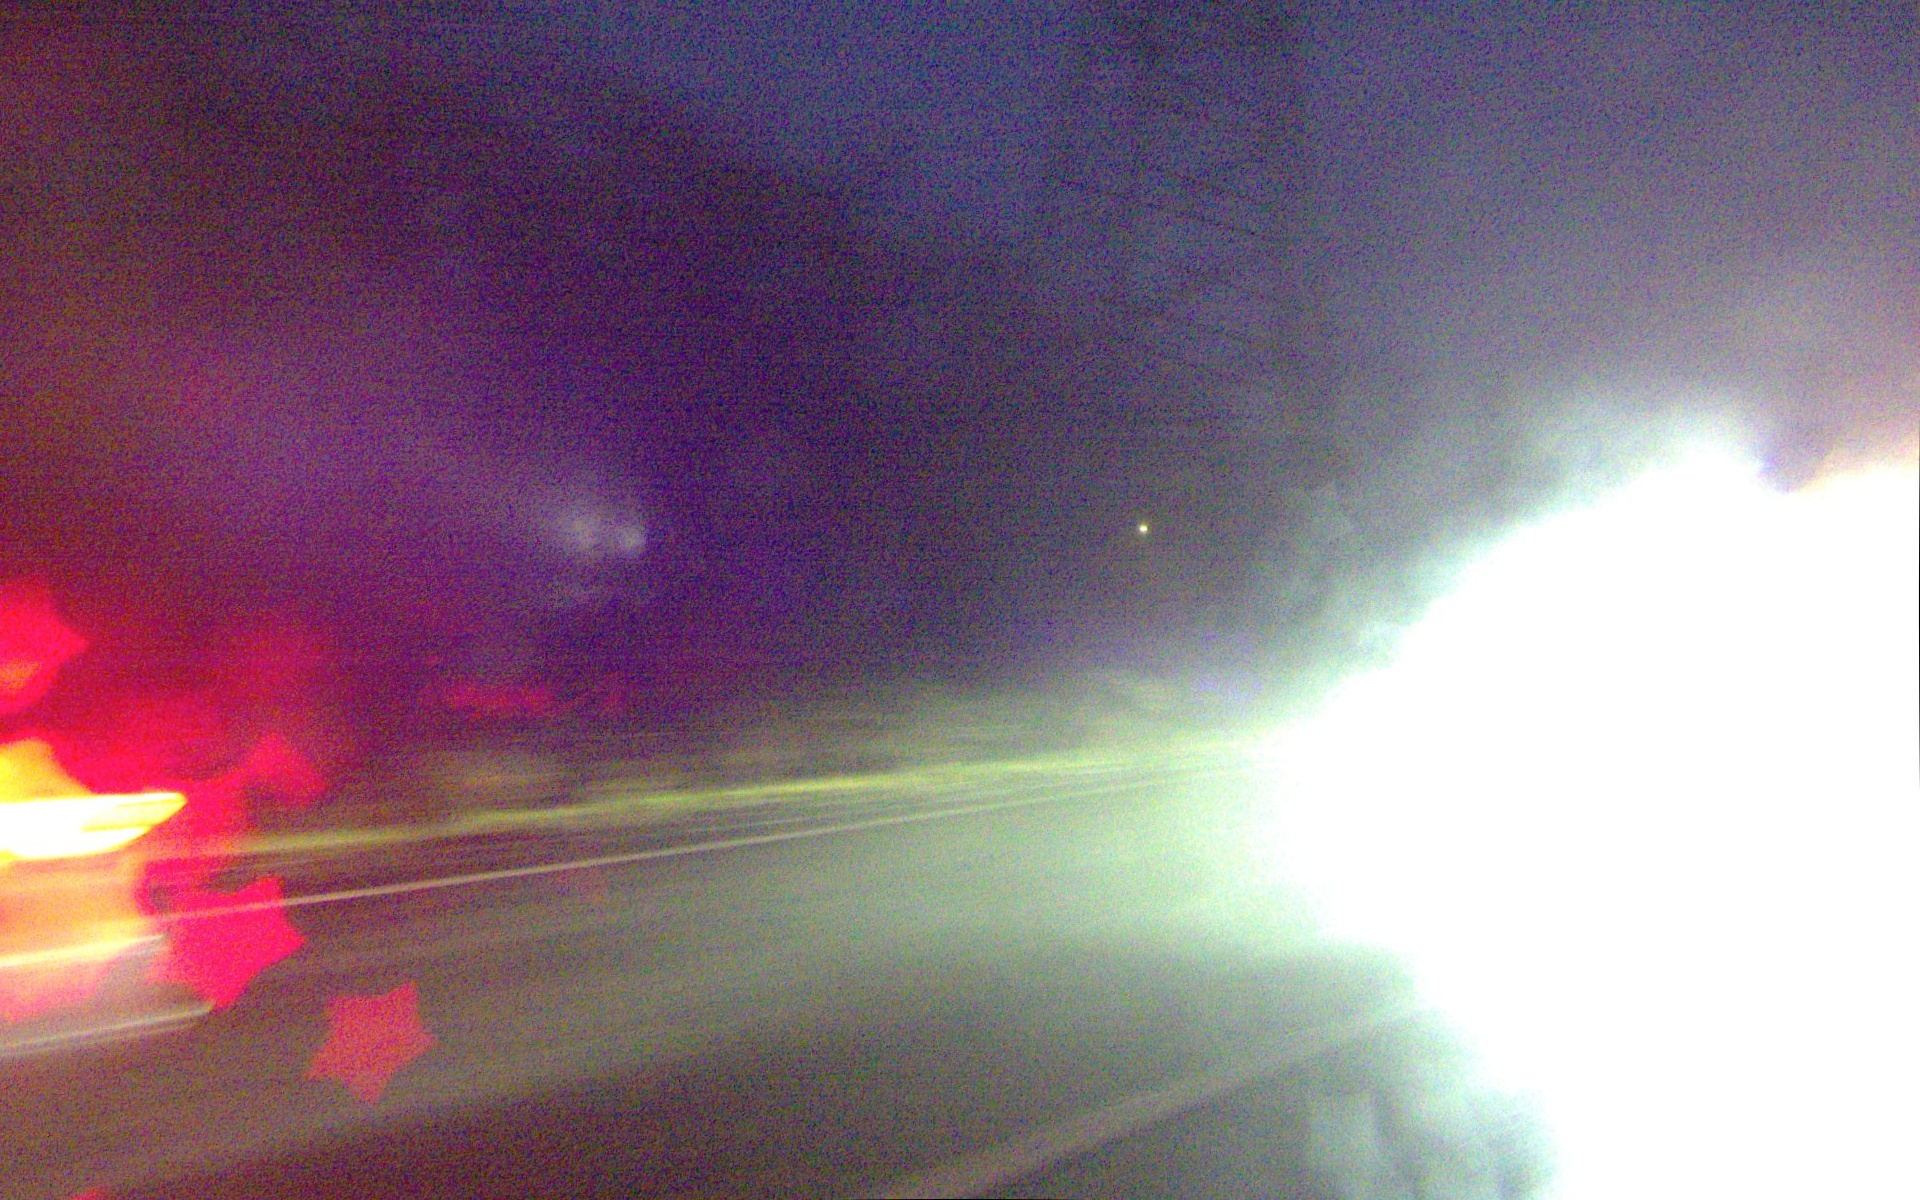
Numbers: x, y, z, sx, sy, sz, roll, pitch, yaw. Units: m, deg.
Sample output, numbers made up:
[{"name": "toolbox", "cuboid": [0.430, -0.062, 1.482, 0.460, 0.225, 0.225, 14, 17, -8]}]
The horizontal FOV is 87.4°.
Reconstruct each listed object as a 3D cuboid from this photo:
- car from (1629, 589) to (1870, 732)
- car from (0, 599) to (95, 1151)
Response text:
[{"name": "car", "cuboid": [11.691, 0.806, 14.739, 4.922, 1.770, 1.844, 2, -1, -40]}, {"name": "car", "cuboid": [-4.380, 0.658, 1.867, 3.996, 1.407, 1.759, 2, -1, -35]}]
